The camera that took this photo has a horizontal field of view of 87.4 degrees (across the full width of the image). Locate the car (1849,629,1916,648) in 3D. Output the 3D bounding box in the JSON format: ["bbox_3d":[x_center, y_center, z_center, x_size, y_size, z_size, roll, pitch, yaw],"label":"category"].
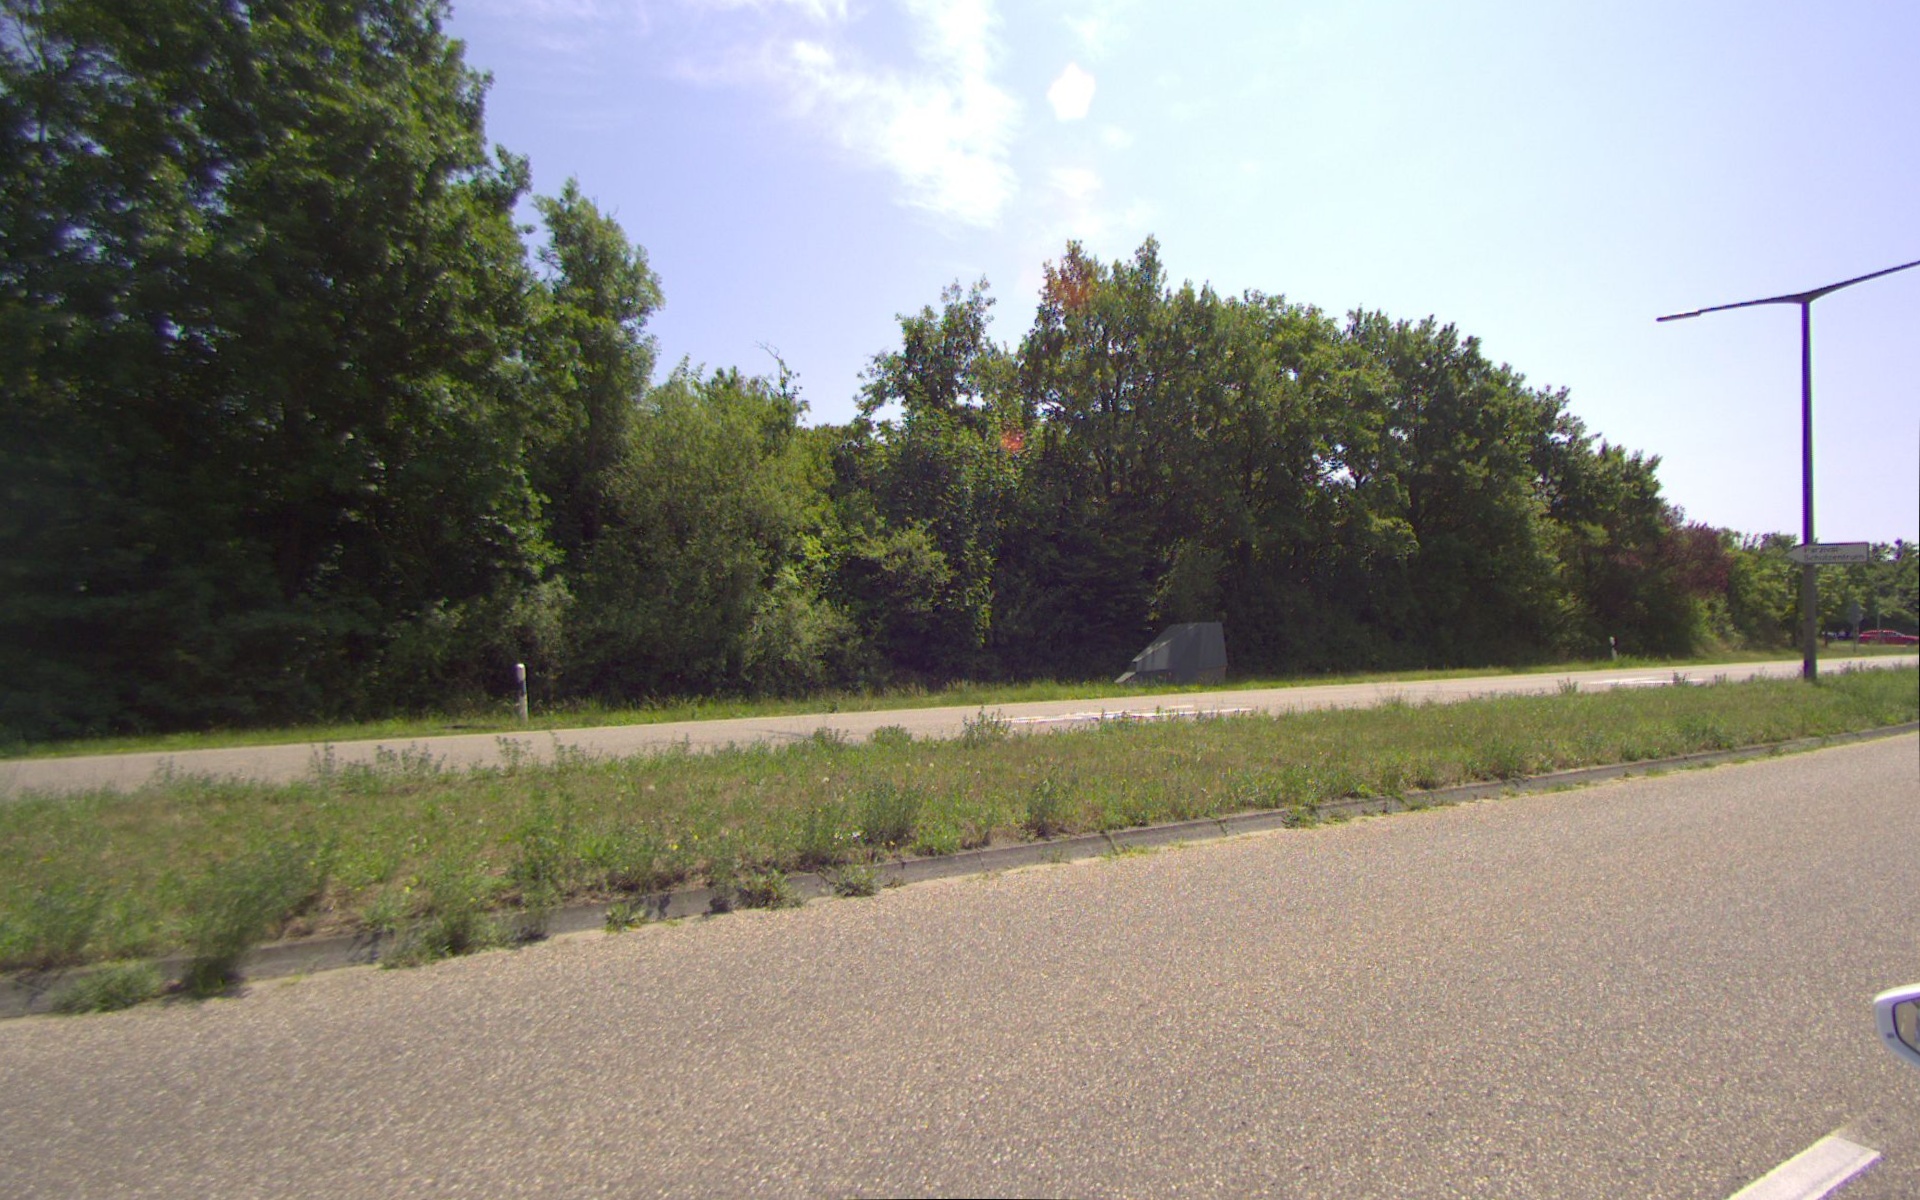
[{"bbox_3d":[86.181,3.582,93.869,1.962,1.663,4.483,1,-1,-41],"label":"car"}]
